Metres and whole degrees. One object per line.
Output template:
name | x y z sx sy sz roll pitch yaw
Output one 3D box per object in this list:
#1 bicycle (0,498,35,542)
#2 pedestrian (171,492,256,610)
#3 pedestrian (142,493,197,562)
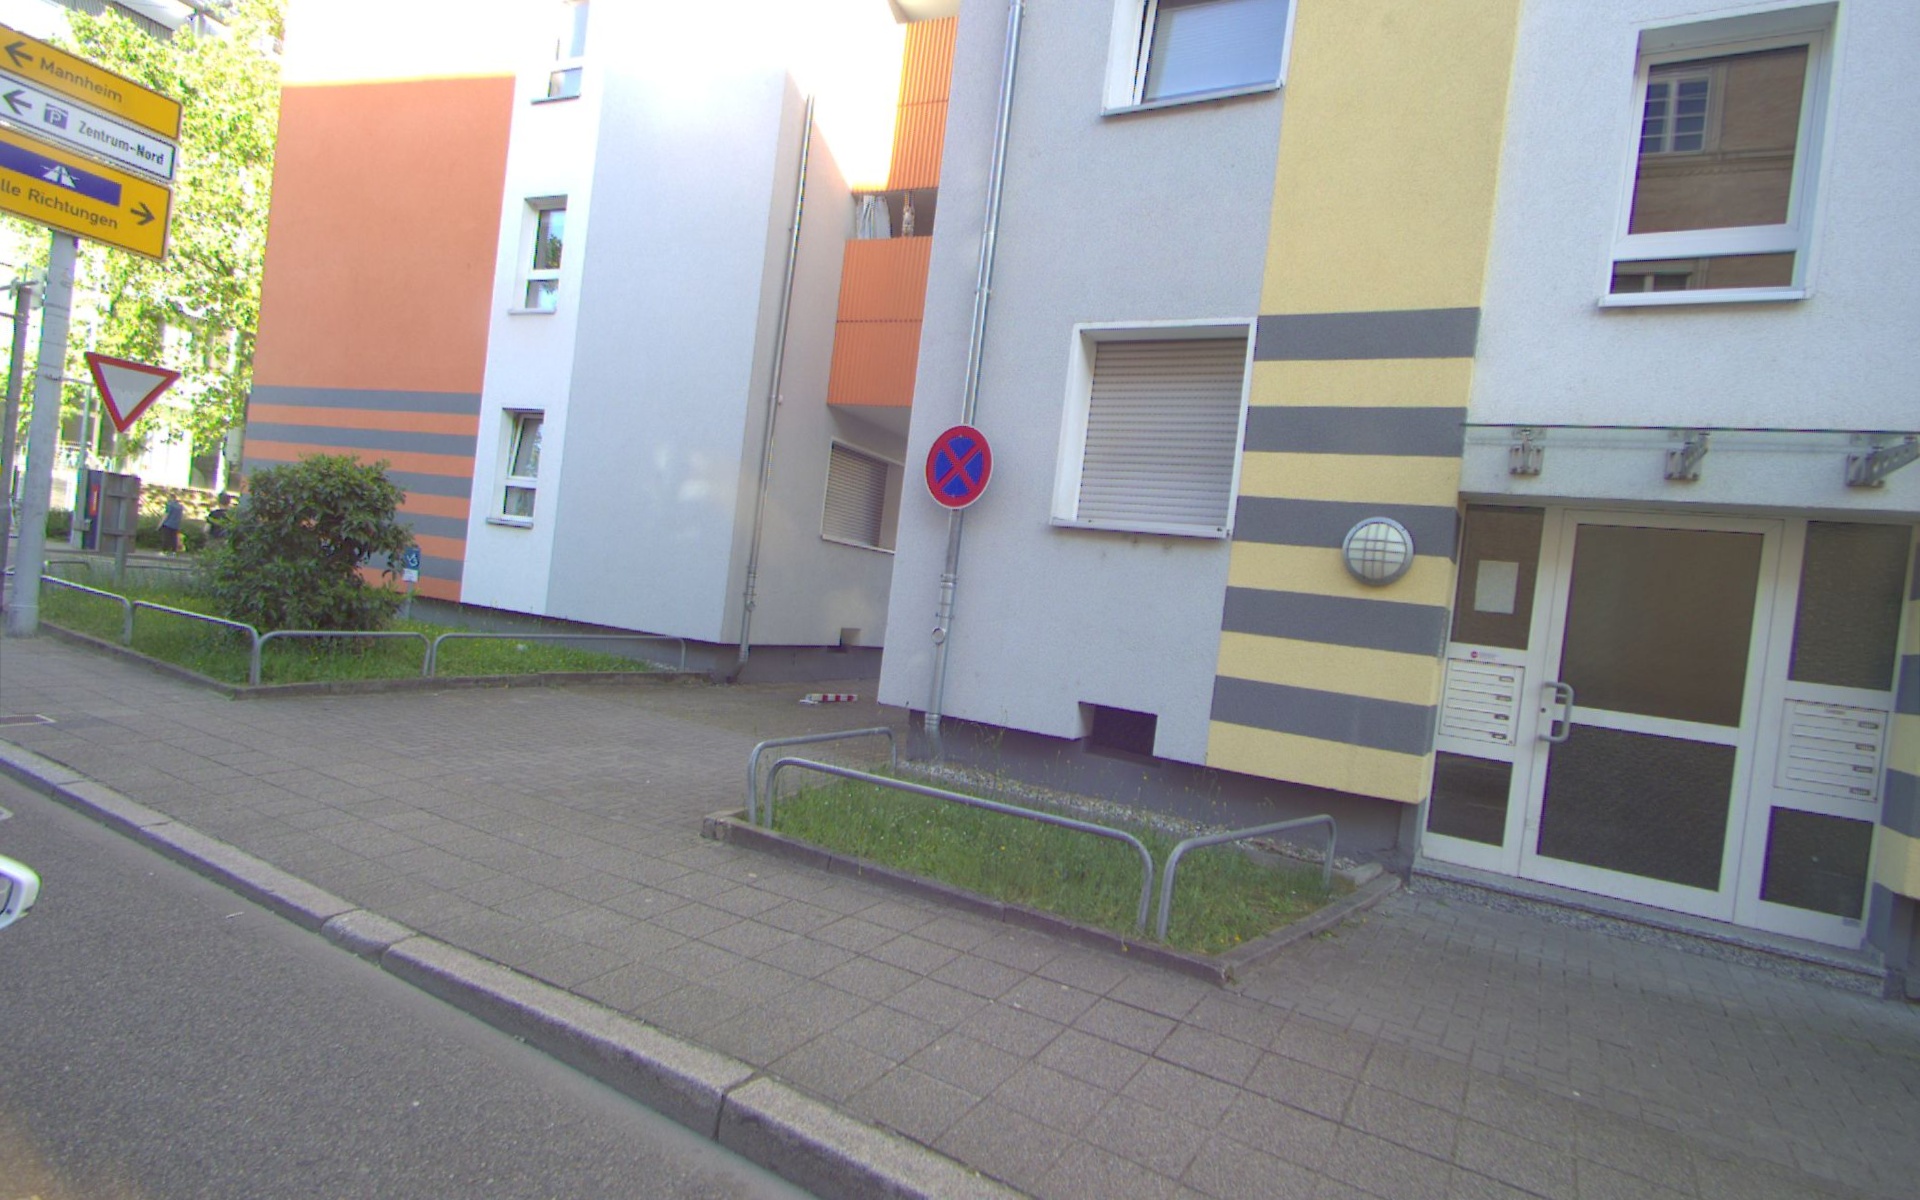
bicycle | -26.287 -2.243 27.356 1.658 1.063 0.508 9 2 -3
pedestrian | -12.673 -0.827 17.078 0.823 1.861 0.708 8 0 32
pedestrian | -23.083 -2.108 29.393 0.696 1.861 0.837 8 -1 22
